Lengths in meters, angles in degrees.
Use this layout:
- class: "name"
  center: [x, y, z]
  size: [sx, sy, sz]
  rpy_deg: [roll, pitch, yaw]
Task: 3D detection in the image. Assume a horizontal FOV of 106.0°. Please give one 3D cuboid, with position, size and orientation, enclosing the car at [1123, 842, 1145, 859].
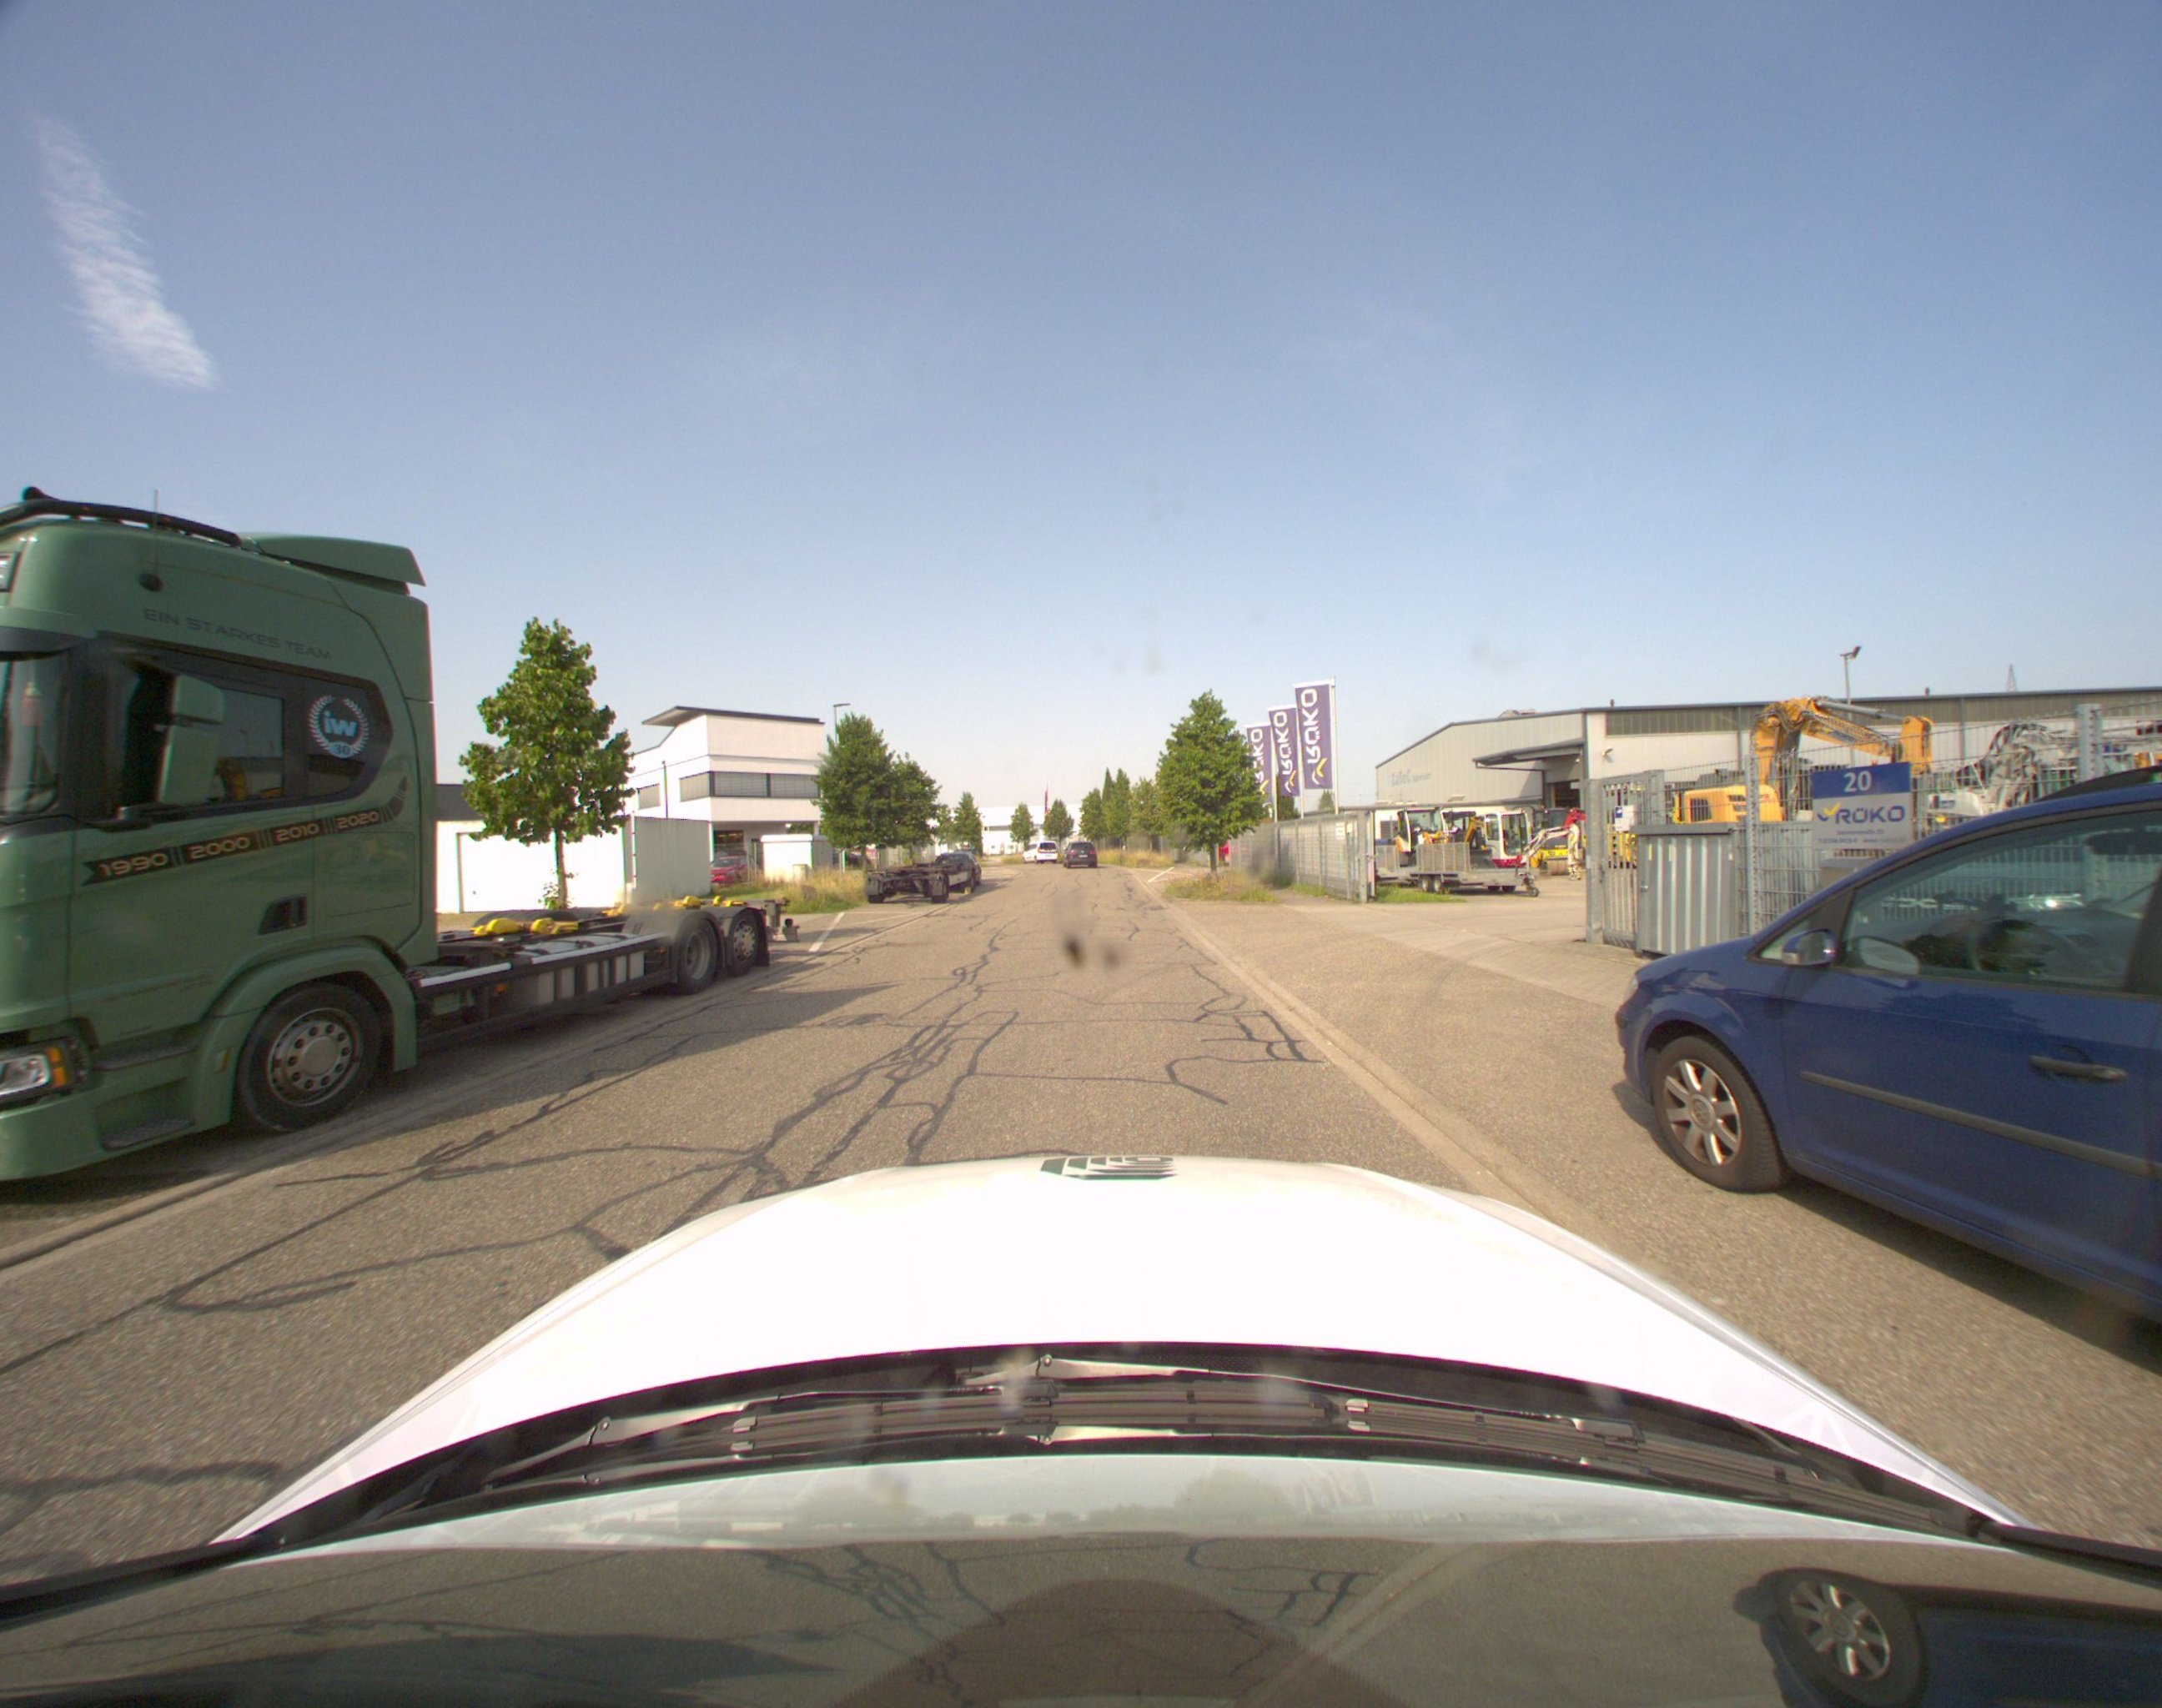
- class: "car"
  center: [5.405, -0.357, 83.544]
  size: [1.719, 1.643, 3.994]
  rpy_deg: [0, 1, -4]

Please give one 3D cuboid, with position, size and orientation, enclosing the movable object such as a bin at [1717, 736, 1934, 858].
- class: "movable object such as a bin"
  center: [26.593, -1.899, 29.510]
  size: [2.674, 3.873, 5.721]
  rpy_deg: [-2, 1, 2]

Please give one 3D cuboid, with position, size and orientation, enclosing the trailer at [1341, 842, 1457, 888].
- class: "trailer"
  center: [9.810, 0.277, 25.494]
  size: [1.938, 1.243, 4.293]
  rpy_deg: [-2, 1, 0]

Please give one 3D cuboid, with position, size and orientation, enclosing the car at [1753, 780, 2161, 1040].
- class: "car"
  center: [8.335, 0.317, 6.727]
  size: [4.220, 1.737, 1.895]
  rpy_deg: [-2, 0, -7]

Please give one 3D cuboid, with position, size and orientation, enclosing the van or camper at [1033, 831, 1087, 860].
- class: "van or camper"
  center: [-2.286, -0.865, 84.940]
  size: [2.364, 2.847, 7.271]
  rpy_deg: [-2, 0, -30]

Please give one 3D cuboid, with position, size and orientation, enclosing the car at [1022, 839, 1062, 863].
- class: "car"
  center: [-3.244, -0.245, 66.765]
  size: [2.001, 1.899, 4.436]
  rpy_deg: [-2, 1, -21]

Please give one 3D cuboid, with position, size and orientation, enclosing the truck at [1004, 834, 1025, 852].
- class: "truck"
  center: [-10.911, -1.891, 134.844]
  size: [2.441, 2.826, 8.006]
  rpy_deg: [-2, 1, 2]

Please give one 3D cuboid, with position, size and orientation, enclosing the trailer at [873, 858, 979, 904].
- class: "trailer"
  center: [-5.181, 0.834, 28.465]
  size: [2.122, 1.232, 7.160]
  rpy_deg: [0, 1, 2]

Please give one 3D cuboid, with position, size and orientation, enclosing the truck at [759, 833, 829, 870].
- class: "truck"
  center: [-33.522, -0.204, 94.665]
  size: [2.650, 3.929, 12.760]
  rpy_deg: [-2, 0, -43]

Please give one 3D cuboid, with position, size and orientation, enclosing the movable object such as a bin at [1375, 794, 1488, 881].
- class: "movable object such as a bin"
  center: [12.341, -0.574, 29.102]
  size: [1.879, 2.752, 5.162]
  rpy_deg: [-2, 1, 2]

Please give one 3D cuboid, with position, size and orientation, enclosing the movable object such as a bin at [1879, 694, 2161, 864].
- class: "movable object such as a bin"
  center: [26.433, -1.860, 21.833]
  size: [2.909, 3.928, 7.206]
  rpy_deg: [-3, 1, 0]

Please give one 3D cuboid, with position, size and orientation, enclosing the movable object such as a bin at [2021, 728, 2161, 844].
- class: "movable object such as a bin"
  center: [38.322, -2.412, 28.411]
  size: [2.460, 3.929, 7.196]
  rpy_deg: [-3, 0, -2]

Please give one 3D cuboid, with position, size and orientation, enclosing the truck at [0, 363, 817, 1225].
- class: "truck"
  center: [-5.807, -0.274, 8.594]
  size: [2.445, 3.881, 9.809]
  rpy_deg: [0, 0, 2]

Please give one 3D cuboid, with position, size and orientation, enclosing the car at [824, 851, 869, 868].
- class: "car"
  center: [-20.890, 0.486, 72.487]
  size: [1.576, 1.454, 3.525]
  rpy_deg: [-1, 0, 43]

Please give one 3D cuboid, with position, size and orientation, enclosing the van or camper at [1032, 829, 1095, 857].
- class: "van or camper"
  center: [-2.107, -1.346, 96.401]
  size: [7.248, 3.032, 2.580]
  rpy_deg: [-2, 0, -6]

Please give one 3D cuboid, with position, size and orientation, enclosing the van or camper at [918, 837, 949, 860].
- class: "van or camper"
  center: [-21.483, -0.861, 118.992]
  size: [2.789, 3.084, 7.971]
  rpy_deg: [-2, 1, 1]

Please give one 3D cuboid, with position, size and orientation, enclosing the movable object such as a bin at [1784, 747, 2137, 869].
- class: "movable object such as a bin"
  center: [23.240, -1.139, 22.137]
  size: [2.692, 2.715, 6.348]
  rpy_deg: [-3, 1, 0]

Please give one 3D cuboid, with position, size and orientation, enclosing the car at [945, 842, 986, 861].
- class: "car"
  center: [-11.539, -0.263, 81.433]
  size: [3.950, 1.804, 2.012]
  rpy_deg: [0, 1, 44]

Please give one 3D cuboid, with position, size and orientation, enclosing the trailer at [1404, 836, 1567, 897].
- class: "trailer"
  center: [9.996, 0.287, 20.606]
  size: [1.986, 1.310, 4.566]
  rpy_deg: [-2, 0, 2]

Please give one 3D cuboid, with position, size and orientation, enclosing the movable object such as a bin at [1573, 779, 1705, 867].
- class: "movable object such as a bin"
  center: [21.111, -1.138, 31.062]
  size: [1.985, 3.031, 4.494]
  rpy_deg: [-2, 1, 2]

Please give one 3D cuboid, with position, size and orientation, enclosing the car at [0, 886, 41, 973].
- class: "car"
  center: [-19.888, 1.403, 12.751]
  size: [1.700, 1.516, 4.213]
  rpy_deg: [-3, 1, 0]

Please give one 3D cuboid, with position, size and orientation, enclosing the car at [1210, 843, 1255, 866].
- class: "car"
  center: [9.726, 0.021, 52.634]
  size: [1.876, 1.357, 4.769]
  rpy_deg: [-2, 1, -2]

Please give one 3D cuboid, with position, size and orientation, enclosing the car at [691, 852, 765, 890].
- class: "car"
  center: [-16.566, 0.753, 38.447]
  size: [1.767, 1.525, 4.298]
  rpy_deg: [-2, 2, -4]

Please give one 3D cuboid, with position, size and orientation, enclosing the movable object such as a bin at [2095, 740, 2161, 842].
- class: "movable object such as a bin"
  center: [41.531, -2.405, 29.200]
  size: [2.445, 3.780, 6.137]
  rpy_deg: [-3, 0, -2]

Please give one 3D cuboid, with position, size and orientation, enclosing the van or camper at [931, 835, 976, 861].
- class: "van or camper"
  center: [-15.402, -0.651, 97.870]
  size: [2.349, 2.943, 6.893]
  rpy_deg: [-2, 1, -37]

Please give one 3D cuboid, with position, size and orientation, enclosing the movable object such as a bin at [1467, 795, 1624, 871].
- class: "movable object such as a bin"
  center: [17.182, -0.751, 30.561]
  size: [2.911, 2.491, 5.341]
  rpy_deg: [-2, 1, 2]

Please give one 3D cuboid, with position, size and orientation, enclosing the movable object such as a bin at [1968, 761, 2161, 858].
- class: "movable object such as a bin"
  center: [31.919, -1.355, 25.511]
  size: [2.047, 2.768, 5.689]
  rpy_deg: [-3, 1, 0]

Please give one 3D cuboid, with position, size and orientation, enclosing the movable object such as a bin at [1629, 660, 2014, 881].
- class: "movable object such as a bin"
  center: [19.080, -1.931, 21.956]
  size: [3.306, 4.806, 7.672]
  rpy_deg: [-2, 1, 0]

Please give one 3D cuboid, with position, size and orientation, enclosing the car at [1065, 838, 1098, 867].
- class: "car"
  center: [0.095, -0.126, 51.842]
  size: [1.986, 1.804, 4.001]
  rpy_deg: [0, 1, 1]

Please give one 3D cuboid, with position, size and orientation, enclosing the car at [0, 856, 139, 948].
- class: "car"
  center: [-31.010, 1.370, 23.434]
  size: [2.051, 2.547, 5.441]
  rpy_deg: [-2, 0, -10]

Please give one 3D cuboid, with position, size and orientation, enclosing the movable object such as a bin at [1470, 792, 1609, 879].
- class: "movable object such as a bin"
  center: [14.346, -0.564, 25.862]
  size: [1.983, 2.458, 4.771]
  rpy_deg: [-2, 1, 5]

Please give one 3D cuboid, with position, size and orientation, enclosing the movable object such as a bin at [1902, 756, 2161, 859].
- class: "movable object such as a bin"
  center: [29.334, -1.344, 25.188]
  size: [2.047, 2.768, 5.689]
  rpy_deg: [-3, 1, 0]

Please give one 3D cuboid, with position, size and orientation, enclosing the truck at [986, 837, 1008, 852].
- class: "truck"
  center: [-13.877, -1.582, 134.922]
  size: [2.441, 2.265, 8.006]
  rpy_deg: [-2, 1, 2]

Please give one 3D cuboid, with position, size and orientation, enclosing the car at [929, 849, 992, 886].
- class: "car"
  center: [-5.283, 0.564, 36.152]
  size: [1.986, 1.466, 4.434]
  rpy_deg: [0, 1, 2]

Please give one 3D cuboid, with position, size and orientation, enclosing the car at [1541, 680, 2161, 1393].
- class: "car"
  center: [3.509, 0.421, 2.460]
  size: [1.820, 1.720, 4.248]
  rpy_deg: [-2, 0, 0]
